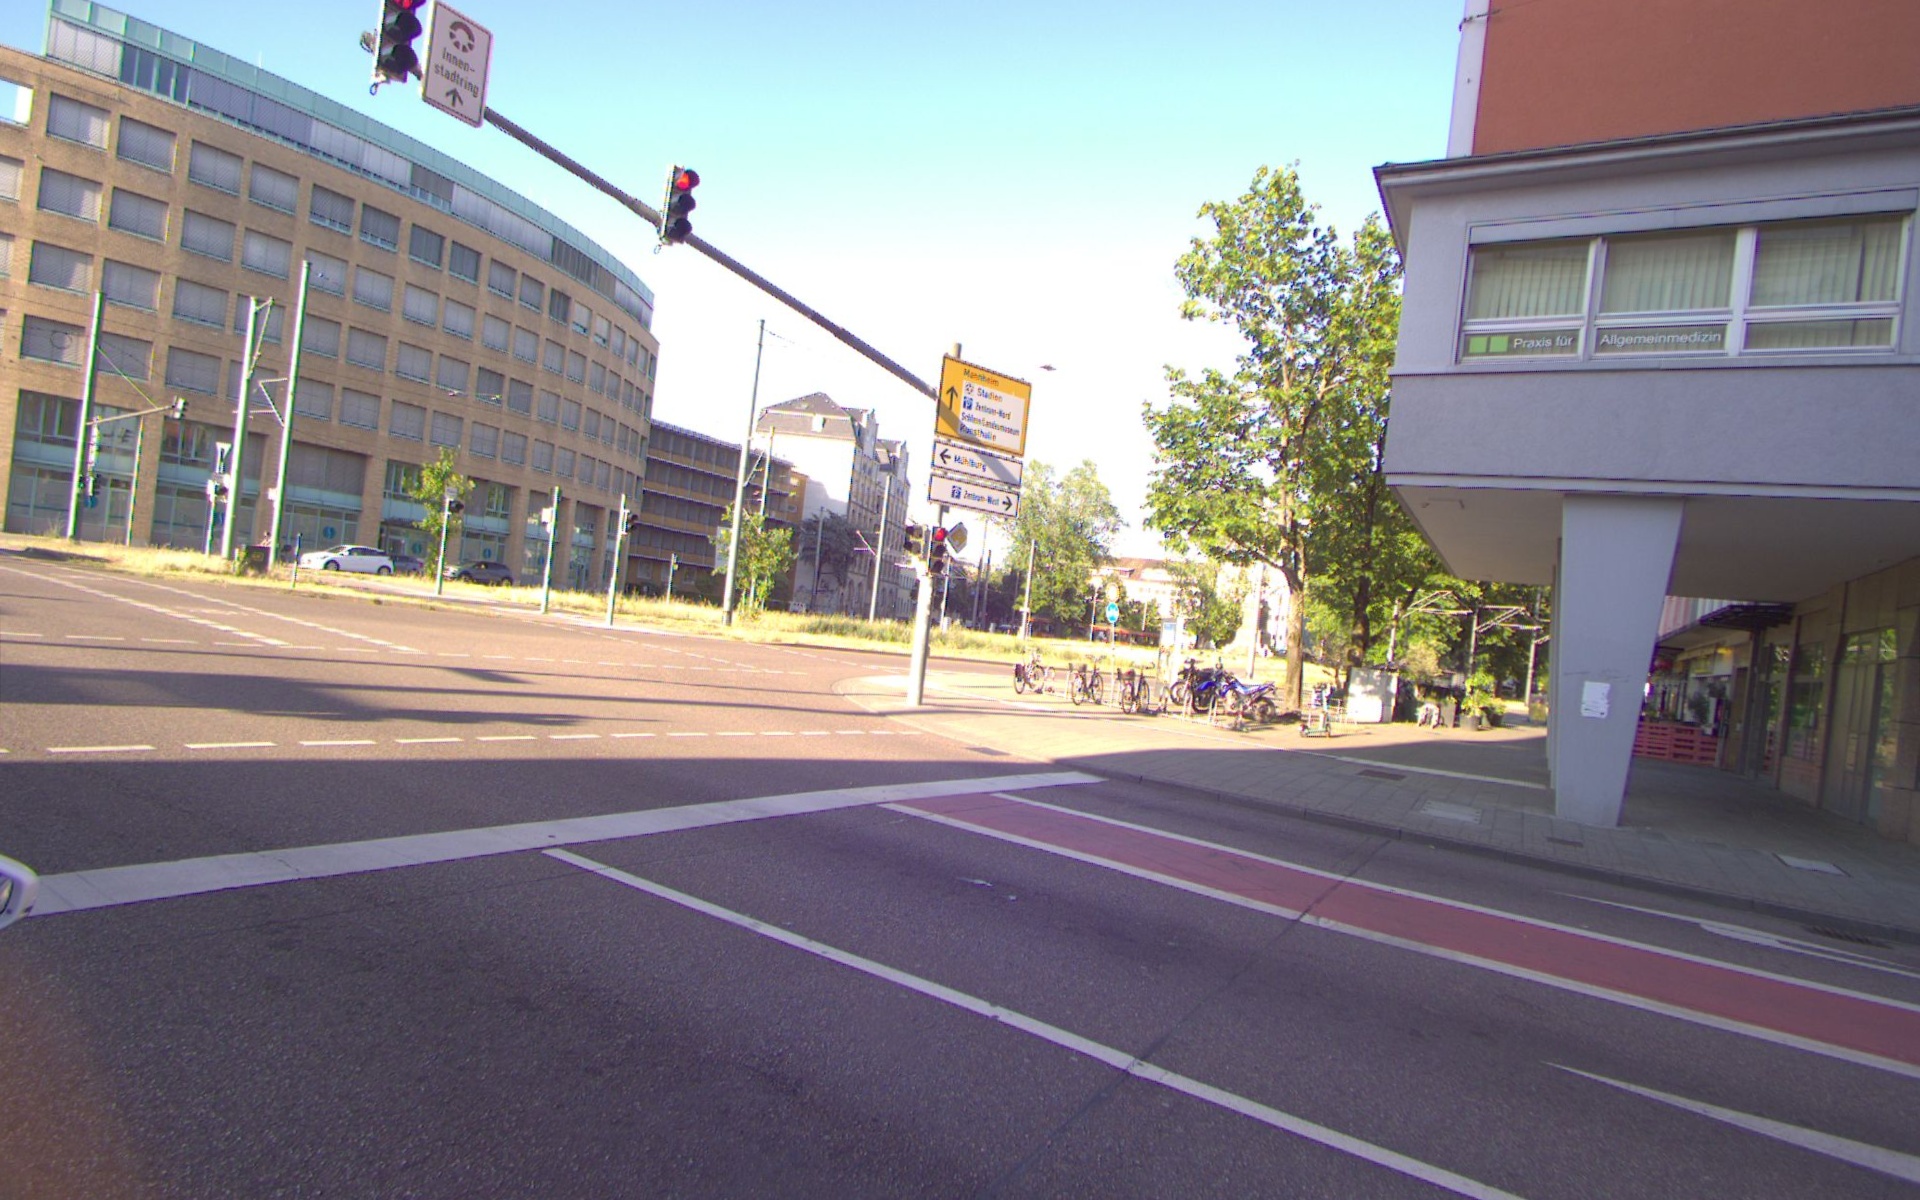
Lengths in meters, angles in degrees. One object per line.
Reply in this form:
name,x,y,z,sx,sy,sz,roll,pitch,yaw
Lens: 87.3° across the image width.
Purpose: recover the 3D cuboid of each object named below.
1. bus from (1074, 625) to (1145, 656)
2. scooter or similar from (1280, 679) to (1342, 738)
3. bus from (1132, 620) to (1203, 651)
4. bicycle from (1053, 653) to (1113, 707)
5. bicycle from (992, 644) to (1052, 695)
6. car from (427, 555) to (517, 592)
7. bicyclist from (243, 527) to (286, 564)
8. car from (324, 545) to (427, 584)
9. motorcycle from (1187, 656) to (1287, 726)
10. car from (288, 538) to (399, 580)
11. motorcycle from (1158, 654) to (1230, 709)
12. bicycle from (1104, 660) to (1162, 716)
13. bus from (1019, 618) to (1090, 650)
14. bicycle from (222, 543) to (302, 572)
bus,20.871,5.662,140.172,10.976,3.248,2.331,7,-1,-35
scooter or similar,7.888,2.445,22.588,1.549,1.251,0.479,6,1,-40
bus,30.210,5.185,145.885,10.954,3.248,2.336,7,-1,-29
bicycle,2.921,1.859,23.695,0.584,1.129,2.003,7,1,29
bicycle,1.531,1.684,24.520,0.584,1.129,1.974,7,1,29
car,-26.998,-1.438,55.773,1.790,1.509,4.058,6,-1,30
bicyclist,-33.912,-2.668,49.081,1.134,1.591,1.225,6,0,30
car,-32.520,-1.970,56.096,1.953,1.555,4.488,6,-1,32
motorcycle,6.897,2.242,25.055,2.224,1.409,0.845,7,-1,19
car,-30.452,-1.991,49.806,1.961,1.509,4.171,6,-1,29
motorcycle,6.491,2.267,27.857,2.044,1.324,0.880,7,-1,-44
bicycle,3.992,1.996,23.076,0.583,1.129,2.058,7,1,28
bus,12.632,4.537,133.285,11.048,3.248,2.381,8,-1,-44
bicycle,-34.000,-2.068,49.042,1.134,1.012,2.966,6,-1,29
